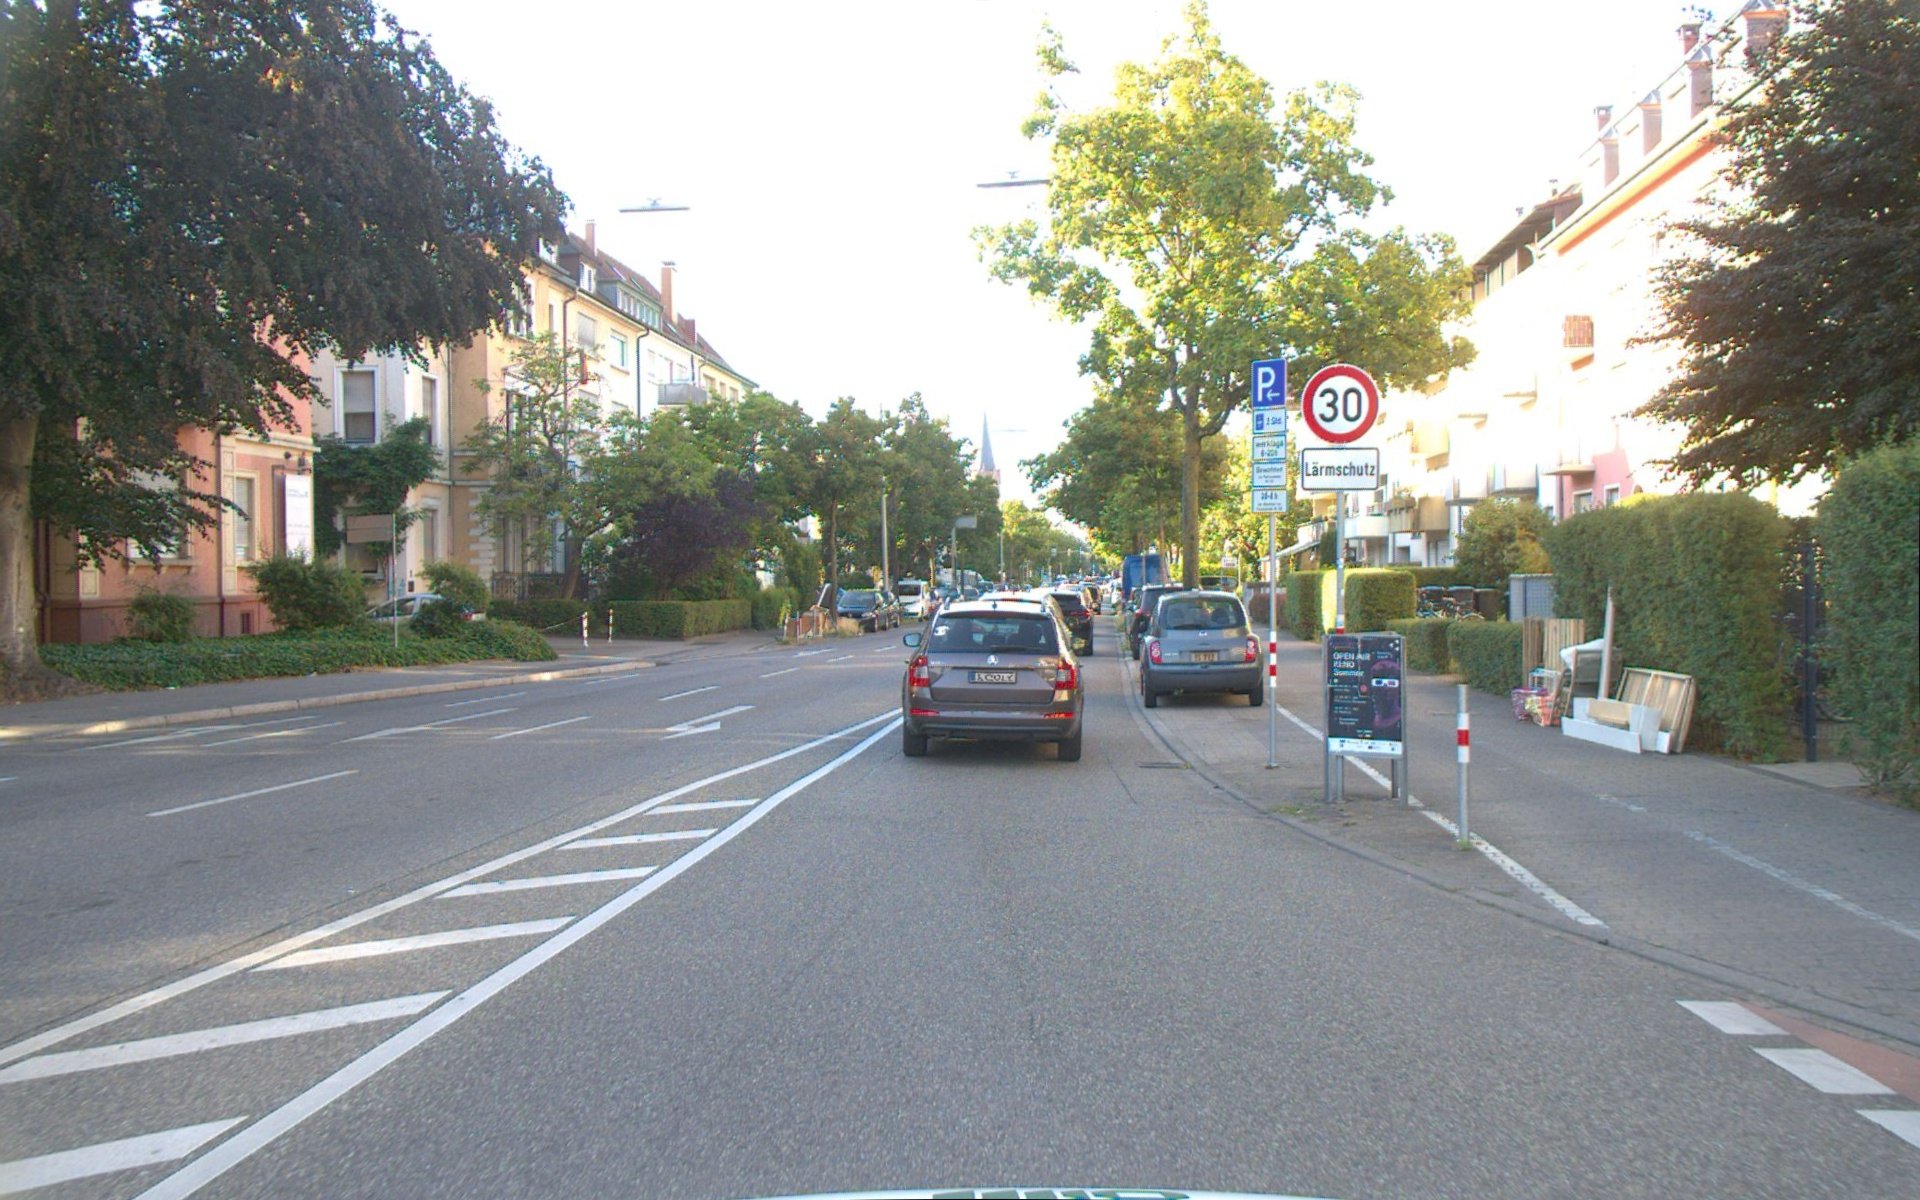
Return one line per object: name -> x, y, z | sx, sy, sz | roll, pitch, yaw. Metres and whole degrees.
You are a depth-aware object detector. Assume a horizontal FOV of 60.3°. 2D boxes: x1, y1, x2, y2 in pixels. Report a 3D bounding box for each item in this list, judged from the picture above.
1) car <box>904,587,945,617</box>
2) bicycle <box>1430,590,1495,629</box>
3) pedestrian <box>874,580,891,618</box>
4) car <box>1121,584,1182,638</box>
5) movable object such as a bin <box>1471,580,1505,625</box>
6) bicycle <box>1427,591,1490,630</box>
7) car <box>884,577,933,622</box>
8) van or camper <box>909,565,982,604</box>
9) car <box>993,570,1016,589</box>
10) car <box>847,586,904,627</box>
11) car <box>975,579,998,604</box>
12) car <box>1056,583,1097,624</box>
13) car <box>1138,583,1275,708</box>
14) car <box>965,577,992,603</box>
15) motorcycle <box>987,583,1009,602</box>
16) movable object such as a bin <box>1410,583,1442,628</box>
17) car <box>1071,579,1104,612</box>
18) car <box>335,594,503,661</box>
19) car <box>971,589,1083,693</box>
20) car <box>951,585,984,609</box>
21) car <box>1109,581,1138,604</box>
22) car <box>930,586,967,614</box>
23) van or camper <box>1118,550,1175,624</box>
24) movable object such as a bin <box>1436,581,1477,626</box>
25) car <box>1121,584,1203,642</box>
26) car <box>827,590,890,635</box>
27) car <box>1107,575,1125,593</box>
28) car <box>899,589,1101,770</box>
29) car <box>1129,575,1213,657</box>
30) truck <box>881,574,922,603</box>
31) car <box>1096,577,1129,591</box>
car -> -1.775, 0.078, 84.210 | 1.680, 1.445, 3.789 | -1, 1, 5
bicycle -> 11.285, 0.213, 37.152 | 1.341, 0.868, 0.369 | -1, 1, 6
pedestrian -> -4.146, -0.058, 88.301 | 0.751, 2.049, 0.976 | -1, 1, 4
car -> 6.195, 0.330, 53.884 | 1.735, 1.671, 3.759 | -1, 0, 3
movable object such as a bin -> 12.223, 0.063, 38.301 | 0.598, 1.020, 0.797 | -1, 1, 5
bicycle -> 11.336, 0.244, 37.606 | 1.330, 0.868, 0.365 | -1, 1, 5
car -> -2.375, -0.059, 77.013 | 1.732, 1.952, 4.463 | -1, 1, 5
van or camper -> -1.474, -1.574, 172.149 | 7.480, 3.942, 2.001 | -1, 1, 3
car -> 3.850, -1.743, 141.807 | 1.713, 1.573, 3.593 | -1, 1, 5
car -> -3.348, 0.231, 66.280 | 1.713, 1.529, 3.981 | -1, 1, 5
car -> 2.031, -0.653, 125.106 | 1.475, 1.788, 3.696 | -1, 1, 5
car -> 5.007, 0.135, 70.836 | 1.696, 1.680, 3.544 | -1, 1, 5
car -> 3.416, 0.584, 23.432 | 1.696, 1.578, 3.648 | -1, 1, 5
car -> 1.356, -0.750, 120.476 | 1.713, 1.771, 3.593 | -1, 1, 5
motorcycle -> 3.121, -0.647, 135.418 | 0.758, 1.538, 2.003 | -1, 1, -37
movable object such as a bin -> 10.811, 0.132, 38.374 | 0.569, 1.020, 0.797 | -1, 1, 5
car -> 6.822, -0.268, 88.235 | 1.696, 1.680, 3.544 | -1, 1, 5
car -> -13.104, 0.644, 40.198 | 3.425, 1.512, 1.816 | -1, 1, 1
car -> 1.074, 0.620, 27.303 | 1.694, 1.520, 3.952 | -1, 1, 1
car -> 0.506, -0.229, 107.311 | 1.717, 1.445, 4.429 | -1, 1, 6
car -> 10.859, -0.526, 109.672 | 1.782, 1.437, 4.115 | -1, 1, 7
car -> -0.651, -0.029, 95.570 | 1.680, 1.523, 4.251 | -1, 1, 5
van or camper -> 7.191, -0.490, 64.131 | 2.024, 2.722, 5.993 | -1, 0, 5
movable object such as a bin -> 11.513, 0.072, 38.352 | 0.759, 1.020, 0.797 | -1, 1, 5
car -> 5.754, 0.340, 47.536 | 1.880, 1.512, 4.747 | -1, 1, 2
car -> -3.710, 0.443, 61.143 | 1.713, 1.529, 4.200 | -1, 1, 5
car -> 15.901, -1.637, 169.184 | 1.693, 1.846, 3.953 | -1, 1, 4
car -> 0.282, 0.688, 16.590 | 1.695, 1.520, 3.948 | -1, 1, -3
car -> 4.683, 0.310, 37.215 | 1.696, 1.680, 4.294 | -1, 1, 5
truck -> -4.347, -0.856, 122.432 | 2.852, 2.130, 1.547 | -1, 1, 4
car -> 19.662, -2.075, 213.386 | 4.140, 1.788, 1.855 | -2, 1, -40
